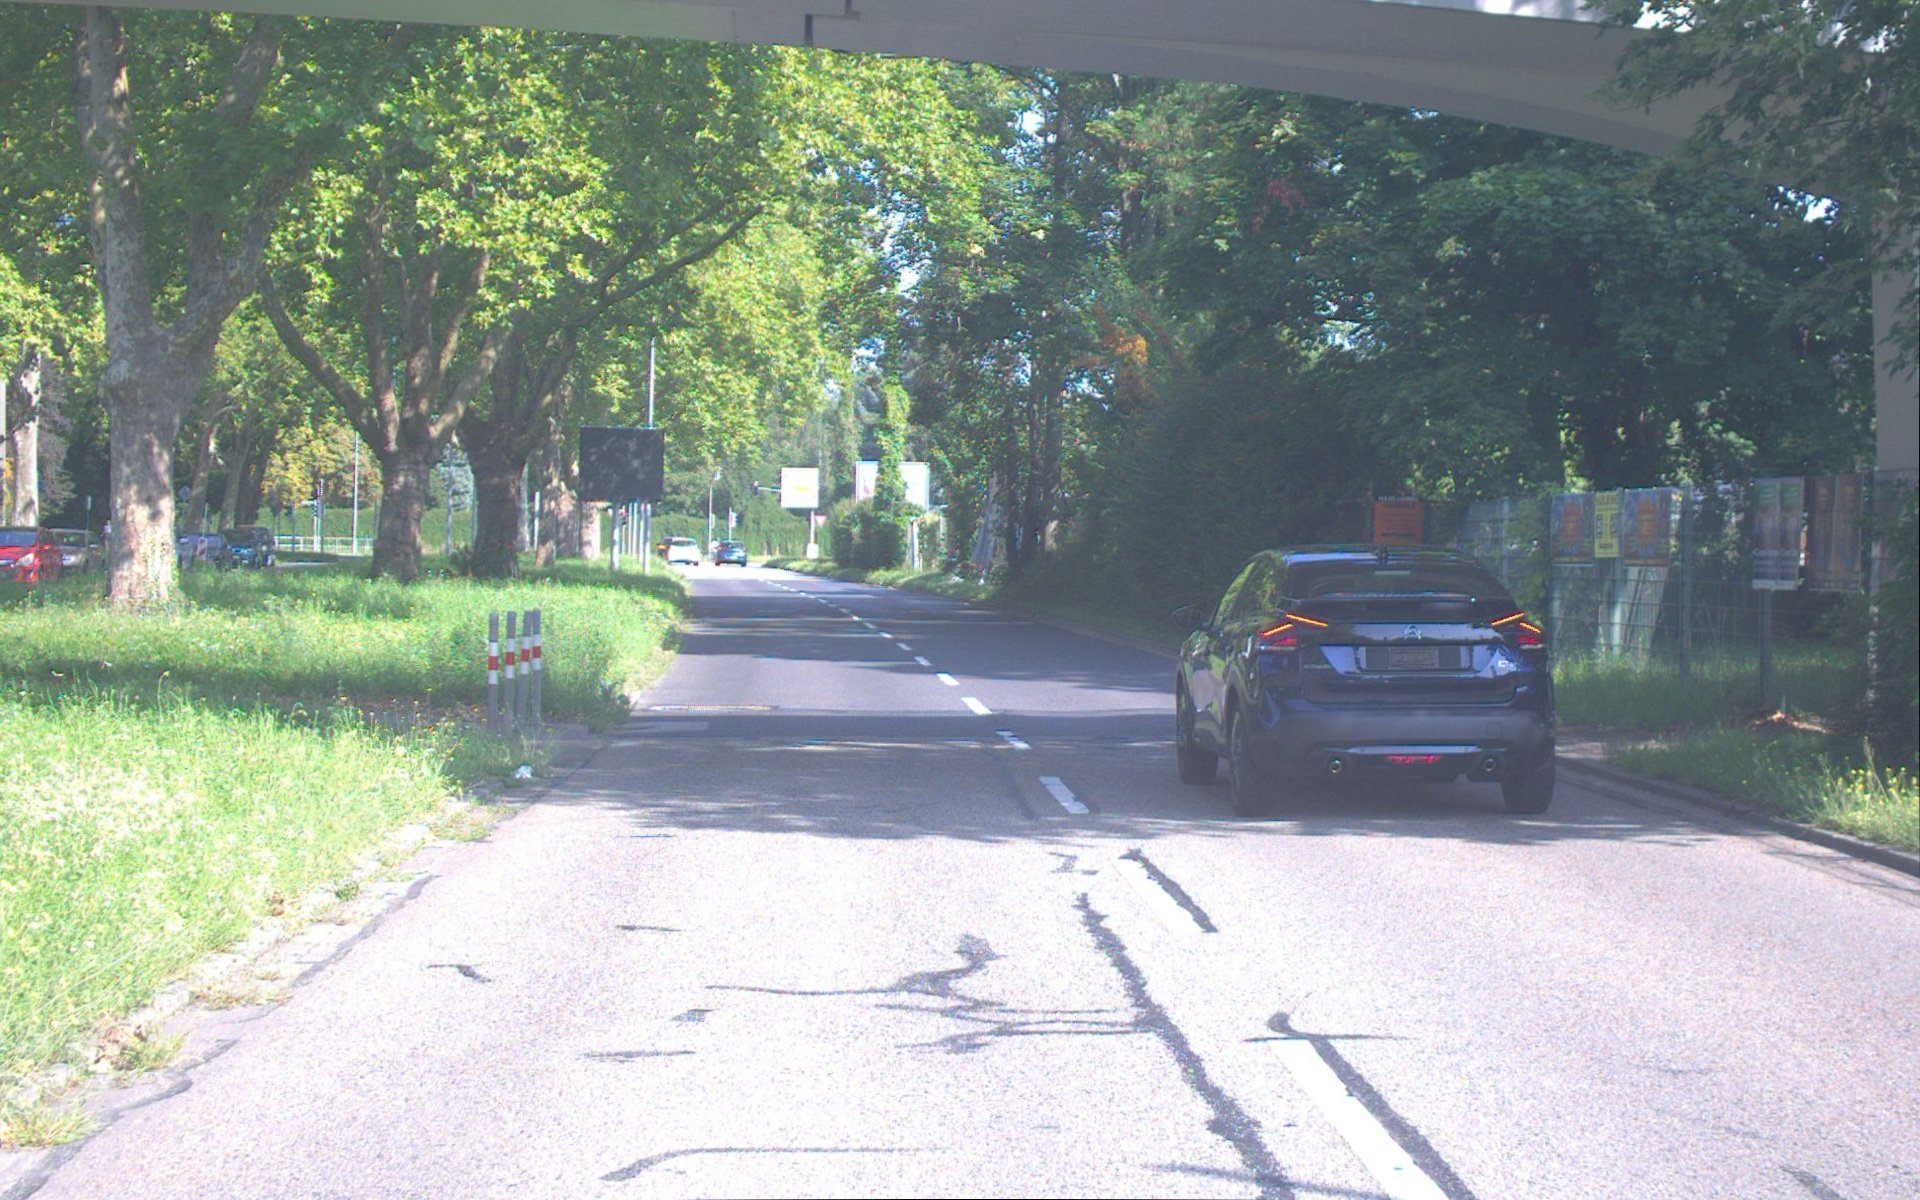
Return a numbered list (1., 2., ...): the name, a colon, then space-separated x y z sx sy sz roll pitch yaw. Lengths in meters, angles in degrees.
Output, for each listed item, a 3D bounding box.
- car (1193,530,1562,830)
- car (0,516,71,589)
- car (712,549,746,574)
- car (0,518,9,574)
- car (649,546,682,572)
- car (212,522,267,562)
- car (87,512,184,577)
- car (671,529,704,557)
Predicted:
1. car: 2.366 0.403 20.426 1.645 1.583 4.255 1 1 0
2. car: -20.703 -1.063 75.340 1.690 1.527 4.070 1 1 -5
3. car: -13.372 -2.223 198.994 1.797 1.396 4.001 2 1 -6
4. car: -25.200 -1.384 86.639 1.538 1.446 4.065 2 1 -4
5. car: -17.374 -2.415 202.729 1.687 1.457 3.850 2 1 -1
6. car: -29.346 -2.346 140.073 1.699 1.562 4.001 1 1 -5
7. car: -22.634 -1.542 94.478 1.802 1.714 4.720 1 1 -4
8. car: -14.897 -3.110 187.910 1.687 1.457 4.001 2 1 -5
